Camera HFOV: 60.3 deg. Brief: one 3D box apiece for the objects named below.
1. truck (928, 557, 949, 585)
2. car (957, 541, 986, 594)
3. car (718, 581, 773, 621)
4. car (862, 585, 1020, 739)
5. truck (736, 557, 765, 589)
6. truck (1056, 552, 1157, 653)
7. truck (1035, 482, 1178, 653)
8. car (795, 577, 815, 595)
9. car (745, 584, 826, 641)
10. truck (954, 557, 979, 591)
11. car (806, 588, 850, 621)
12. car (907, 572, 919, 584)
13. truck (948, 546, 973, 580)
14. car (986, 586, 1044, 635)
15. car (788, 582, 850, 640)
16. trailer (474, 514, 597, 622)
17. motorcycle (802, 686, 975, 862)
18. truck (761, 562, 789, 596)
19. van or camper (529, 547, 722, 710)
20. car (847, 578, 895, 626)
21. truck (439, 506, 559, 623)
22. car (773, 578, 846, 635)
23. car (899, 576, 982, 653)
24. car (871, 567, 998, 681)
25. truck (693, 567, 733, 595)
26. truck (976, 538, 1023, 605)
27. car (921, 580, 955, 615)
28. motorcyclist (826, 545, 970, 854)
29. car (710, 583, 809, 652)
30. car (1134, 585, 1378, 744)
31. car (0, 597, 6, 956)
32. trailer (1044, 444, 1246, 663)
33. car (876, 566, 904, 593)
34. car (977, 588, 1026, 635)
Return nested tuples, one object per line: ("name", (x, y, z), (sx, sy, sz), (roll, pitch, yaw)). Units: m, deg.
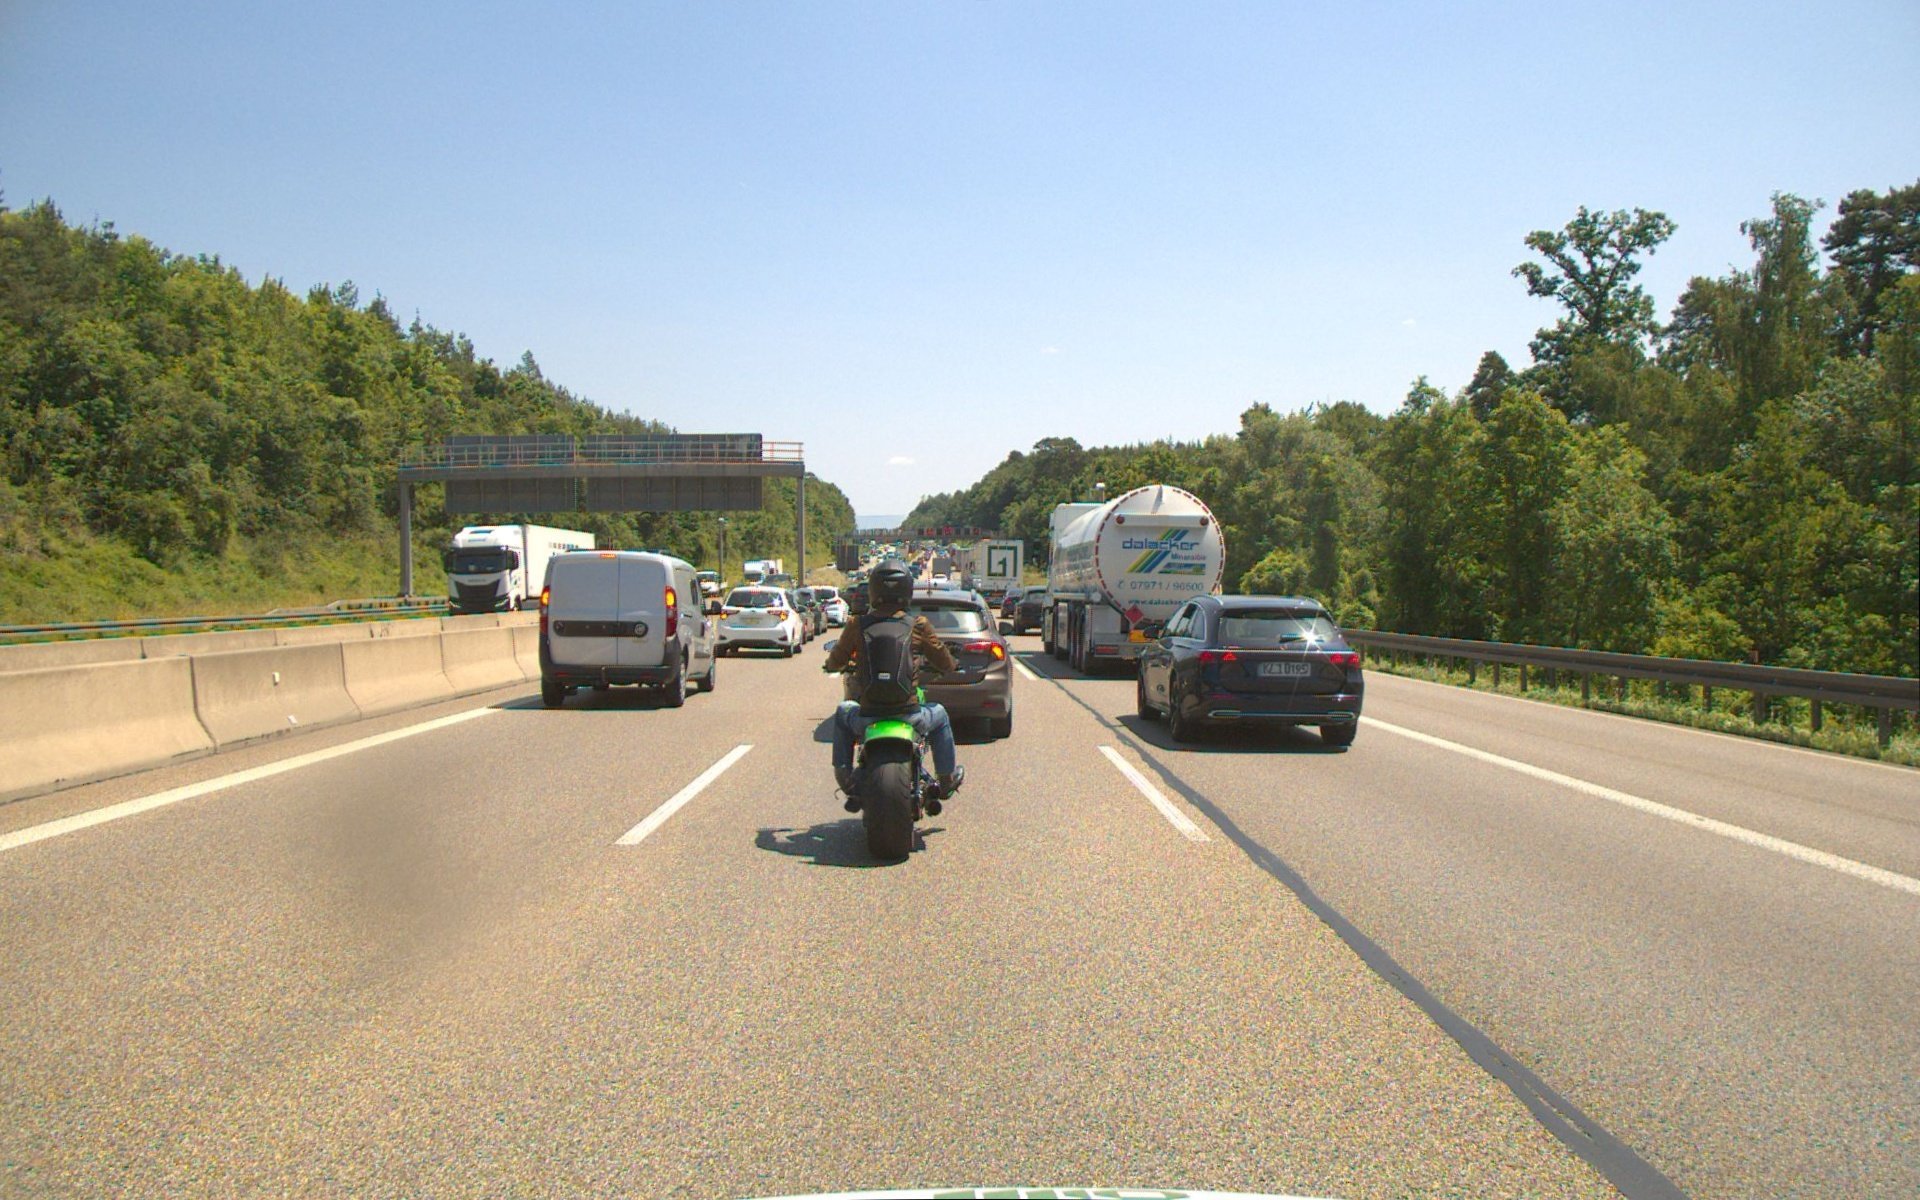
("truck", (-2.816, -3.747, 214.505), (2.641, 3.465, 10.476), (0, 0, -1))
("car", (0.892, -2.548, 133.495), (2.123, 3.961, 9.328), (1, -1, -1))
("car", (-8.438, 0.009, 65.363), (1.788, 1.521, 3.999), (0, 1, -2))
("car", (-0.208, 0.589, 18.014), (1.509, 1.475, 3.999), (1, 0, -1))
("truck", (-20.459, -2.616, 161.781), (2.133, 2.935, 6.740), (1, -1, -1))
("truck", (4.698, 0.048, 54.415), (2.340, 3.031, 8.250), (1, 0, -2))
("truck", (3.387, -0.686, 39.777), (2.770, 3.735, 6.428), (1, -1, -1))
("car", (-16.668, -1.495, 177.984), (1.748, 1.870, 4.292), (1, -1, -1))
("car", (-4.875, 0.354, 46.651), (1.953, 1.490, 3.998), (1, -1, -2))
("truck", (0.439, -1.705, 109.600), (1.558, 2.148, 3.752), (1, -1, 2))
("car", (-6.181, 0.216, 77.872), (1.728, 1.467, 3.999), (1, -1, 0))
("car", (-6.841, -3.190, 240.887), (1.734, 1.583, 3.999), (0, 0, -1))
("truck", (0.013, -3.931, 178.052), (2.641, 3.465, 10.476), (0, 0, -1))
("car", (1.806, 0.371, 55.364), (1.740, 1.554, 3.999), (1, -1, -1))
("car", (-5.129, 0.403, 60.569), (1.953, 2.049, 3.999), (1, -1, -1))
("trailer", (-19.225, -1.303, 75.648), (2.889, 4.560, 10.814), (1, -1, -1))
("motorcycle", (-0.397, 0.995, 10.047), (0.917, 0.807, 2.298), (1, 0, -1))
("truck", (-23.111, -2.532, 206.528), (2.637, 4.059, 7.989), (1, -1, -1))
("van or camper", (-4.309, 0.302, 21.952), (1.816, 1.913, 4.559), (1, 1, -3))
("car", (-3.933, 0.123, 73.521), (1.953, 2.049, 3.999), (1, -1, -1))
("truck", (-19.130, -1.370, 69.093), (2.889, 4.560, 7.517), (1, -1, -1))
("car", (-4.785, 0.218, 53.148), (1.953, 1.713, 4.329), (1, -1, -1))
("car", (-0.508, 0.364, 41.191), (1.953, 1.806, 3.998), (1, -1, -2))
("car", (-0.445, 0.389, 27.672), (1.953, 1.741, 3.998), (1, -1, -2))
("truck", (-19.382, -1.456, 129.917), (2.304, 2.049, 6.490), (1, -1, -2))
("truck", (2.477, -1.674, 102.195), (2.794, 3.888, 7.189), (1, -1, 2))
("car", (-1.322, -0.170, 97.909), (1.953, 2.049, 3.999), (0, 0, -1))
("motorcyclist", (-0.352, 0.560, 9.745), (0.782, 1.717, 1.016), (1, -1, -1))
("car", (-4.410, 0.383, 36.826), (1.740, 1.435, 3.999), (1, -1, -1))
("car", (3.038, 0.630, 17.932), (1.755, 1.484, 4.623), (1, -1, -1))
("car", (-4.413, 0.712, 3.726), (1.836, 1.475, 4.677), (1, 0, -1))
("trailer", (3.464, -0.760, 33.848), (2.770, 3.735, 10.730), (1, -1, -1))
("car", (-5.271, -1.528, 124.558), (1.953, 2.049, 3.999), (0, 0, -1))
("car", (1.839, 0.523, 74.636), (1.953, 2.049, 3.998), (1, -1, -2))
